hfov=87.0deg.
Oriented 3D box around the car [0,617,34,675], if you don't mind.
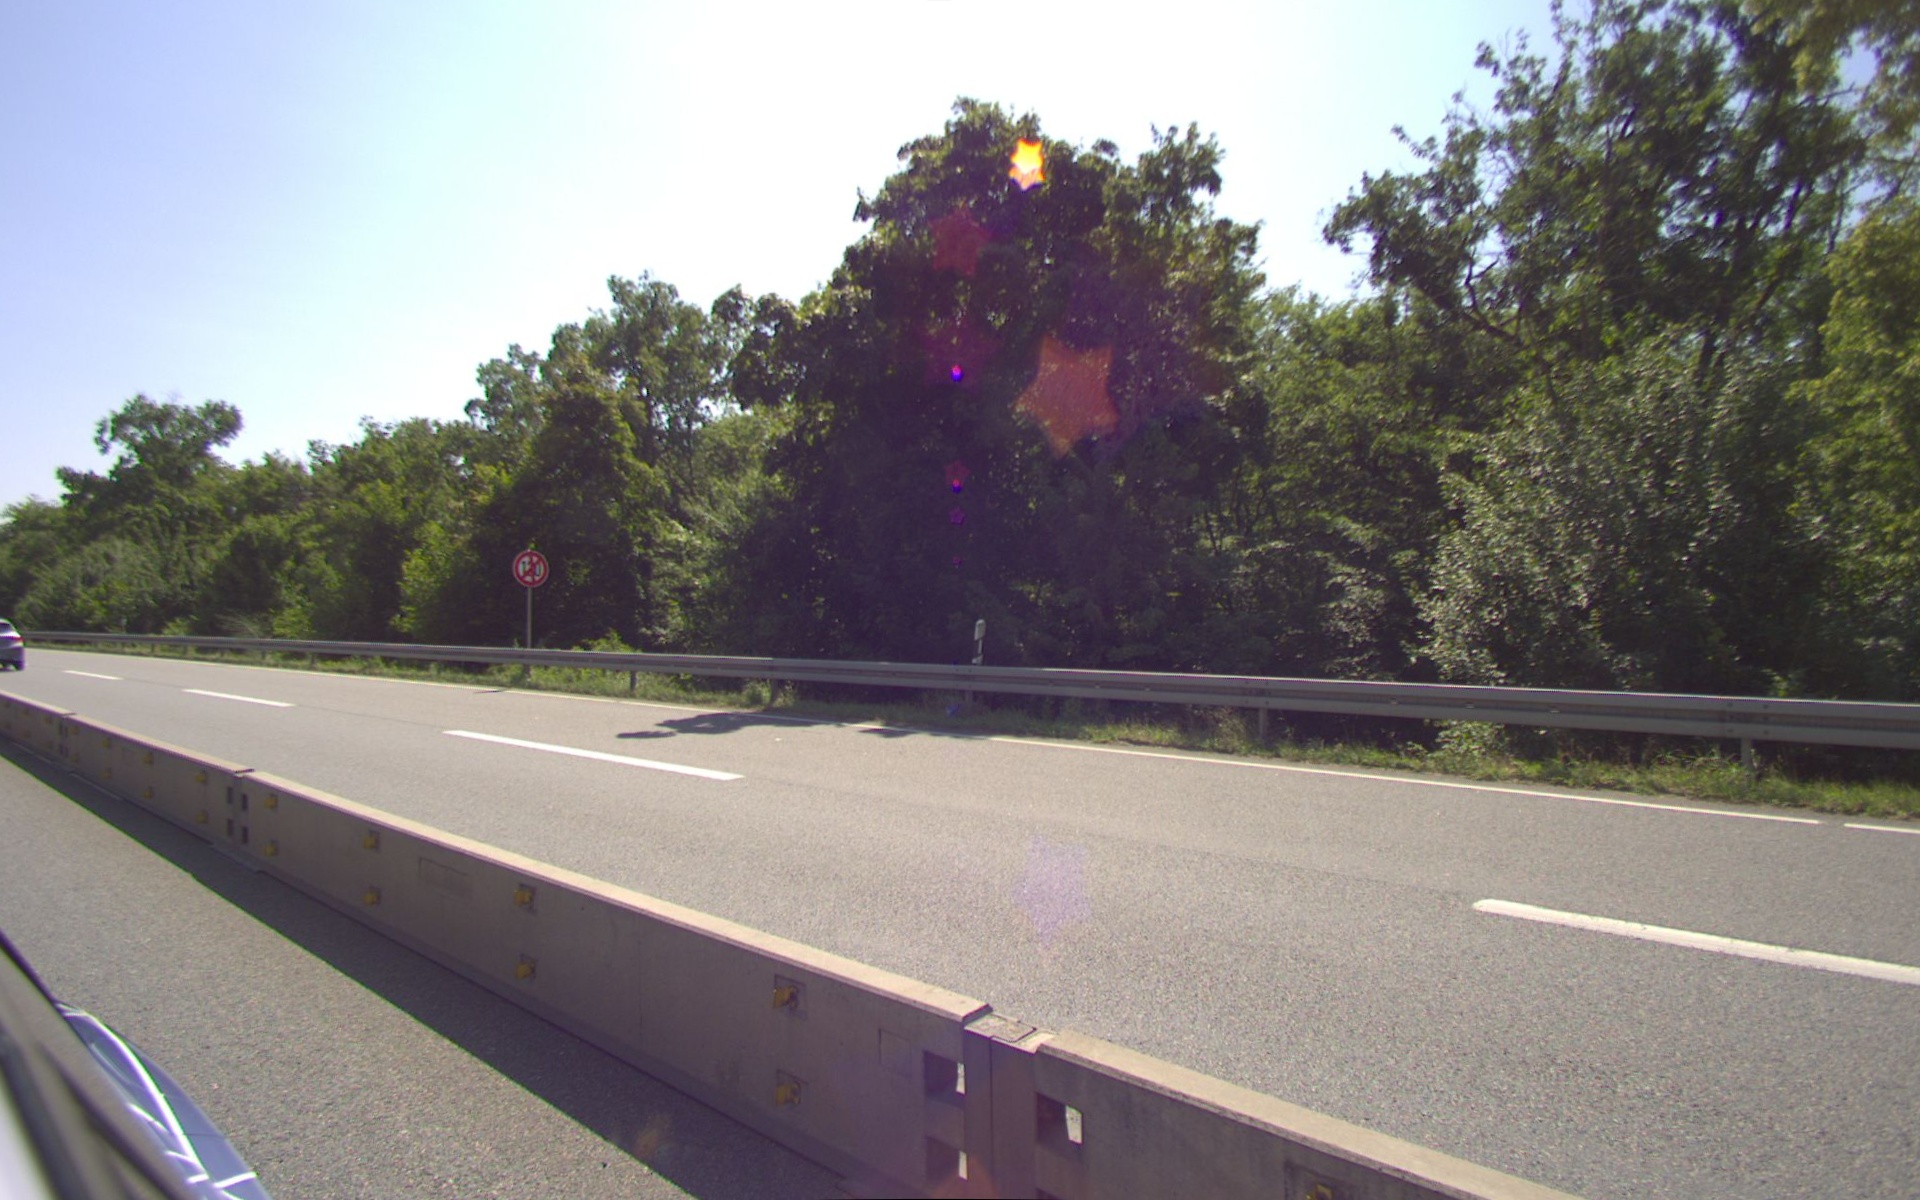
[{"bbox_3d":[-28.295,1.296,29.162,4.434,1.591,1.928,-1,0,41],"label":"car"}]
